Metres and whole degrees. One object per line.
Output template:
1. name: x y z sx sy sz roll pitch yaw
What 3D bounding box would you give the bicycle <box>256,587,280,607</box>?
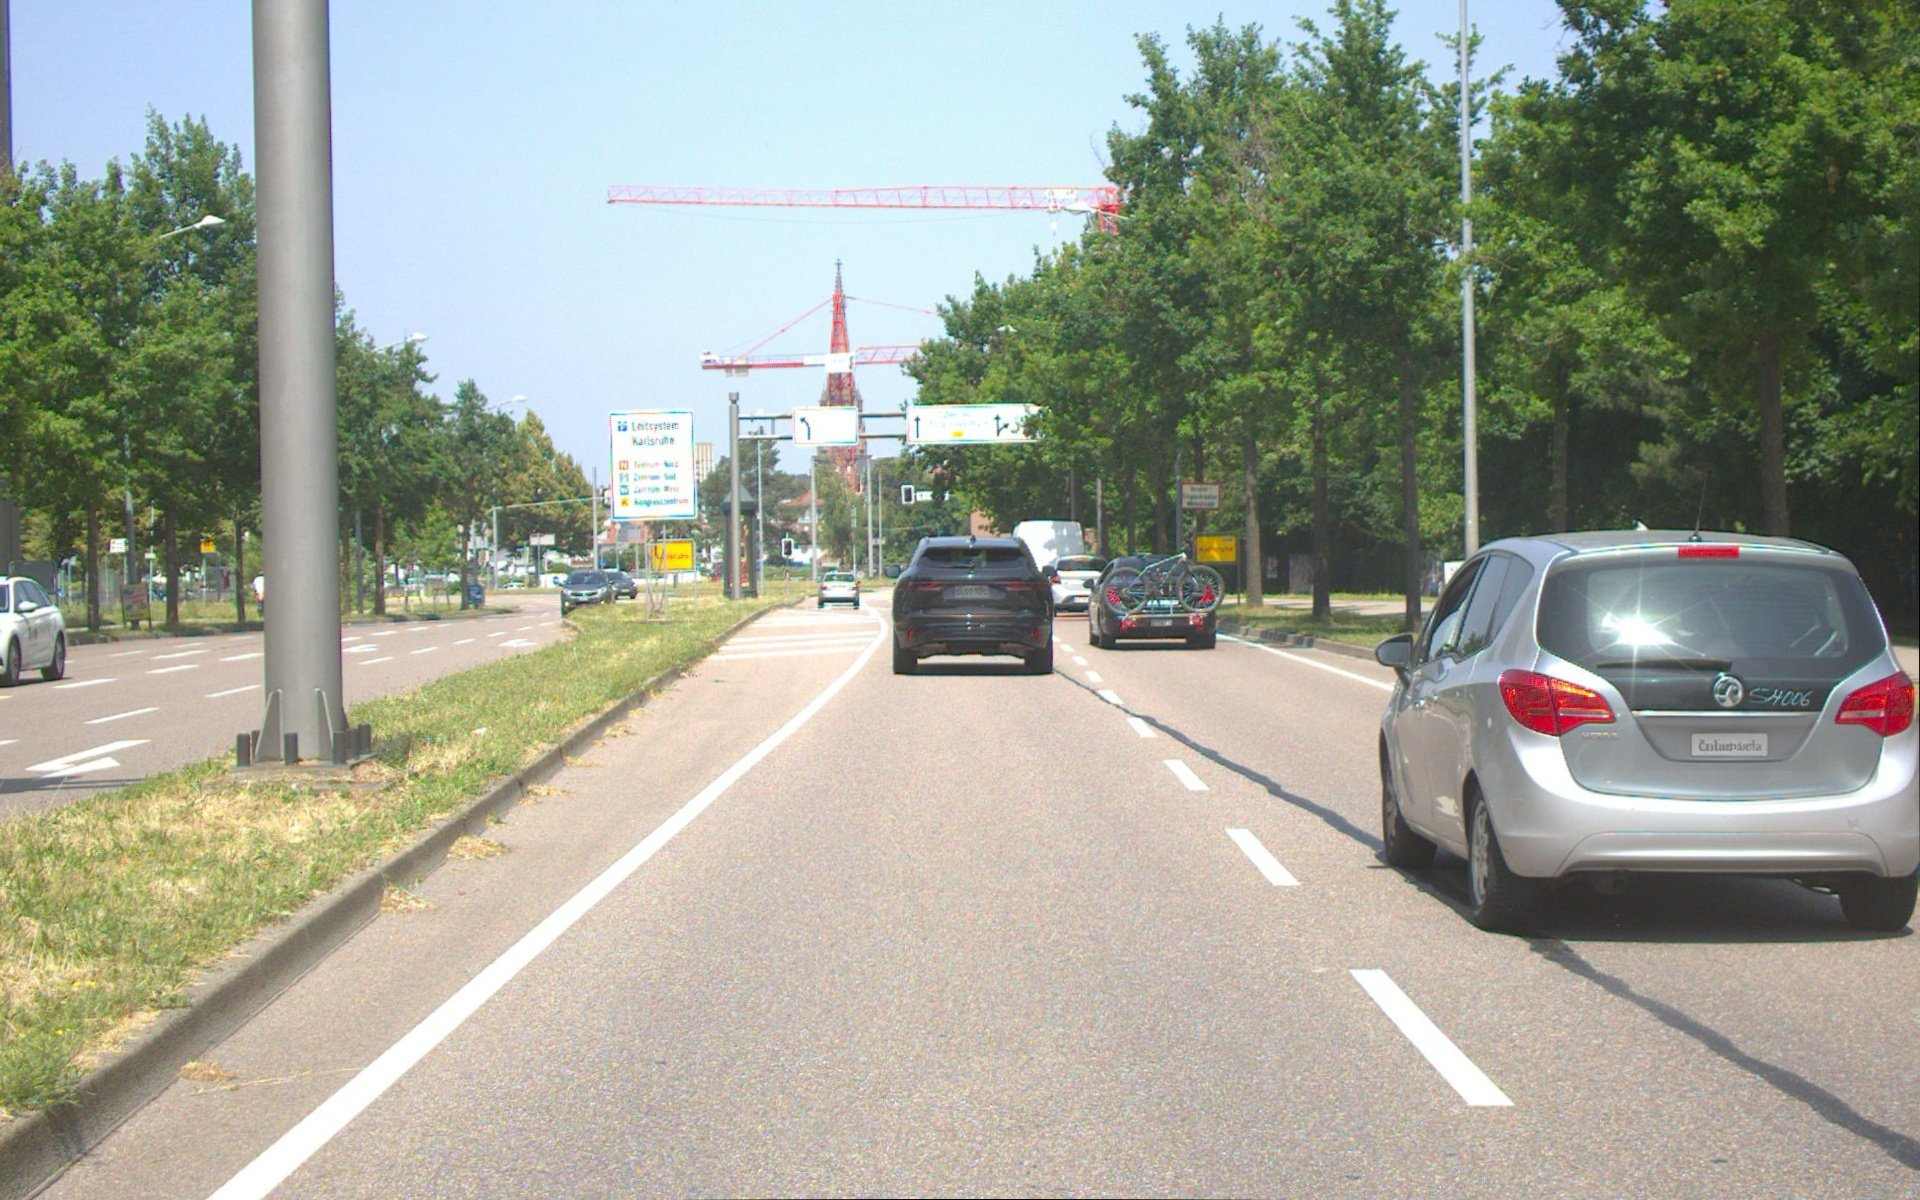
1. bicycle: -25.831 -0.116 128.277 0.481 0.713 1.850 -1 0 1

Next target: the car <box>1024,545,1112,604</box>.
1. car: 2.576 -0.624 83.062 1.654 1.351 4.461 -1 0 -4

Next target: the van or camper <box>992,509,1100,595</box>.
1. van or camper: 2.368 -1.322 96.033 2.493 2.283 4.921 -1 0 -4

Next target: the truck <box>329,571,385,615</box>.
1. truck: -36.243 -0.419 206.813 2.638 2.568 6.319 1 0 -4

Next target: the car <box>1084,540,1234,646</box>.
1. car: 2.986 -0.116 52.490 2.014 1.512 4.461 -1 0 0

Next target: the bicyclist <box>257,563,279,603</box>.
1. bicyclist: -25.843 -0.636 128.340 0.623 1.484 0.757 -1 0 1

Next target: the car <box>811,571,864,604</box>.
1. car: -5.286 -0.545 147.474 1.993 1.316 4.001 -1 1 -6

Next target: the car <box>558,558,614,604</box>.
1. car: -12.924 -0.673 119.007 1.707 1.467 3.942 -2 1 -4

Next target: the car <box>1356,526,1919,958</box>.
1. car: 2.856 0.501 14.755 1.792 1.606 3.891 0 1 -1

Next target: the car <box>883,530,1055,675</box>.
1. car: 0.095 -0.003 42.136 1.998 1.684 4.034 0 1 0

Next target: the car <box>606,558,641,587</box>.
1. car: -19.489 -1.615 199.458 1.892 1.605 4.535 -1 1 -4

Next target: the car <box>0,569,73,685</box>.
1. car: -13.037 0.348 45.224 1.810 1.422 4.359 -2 1 -4
